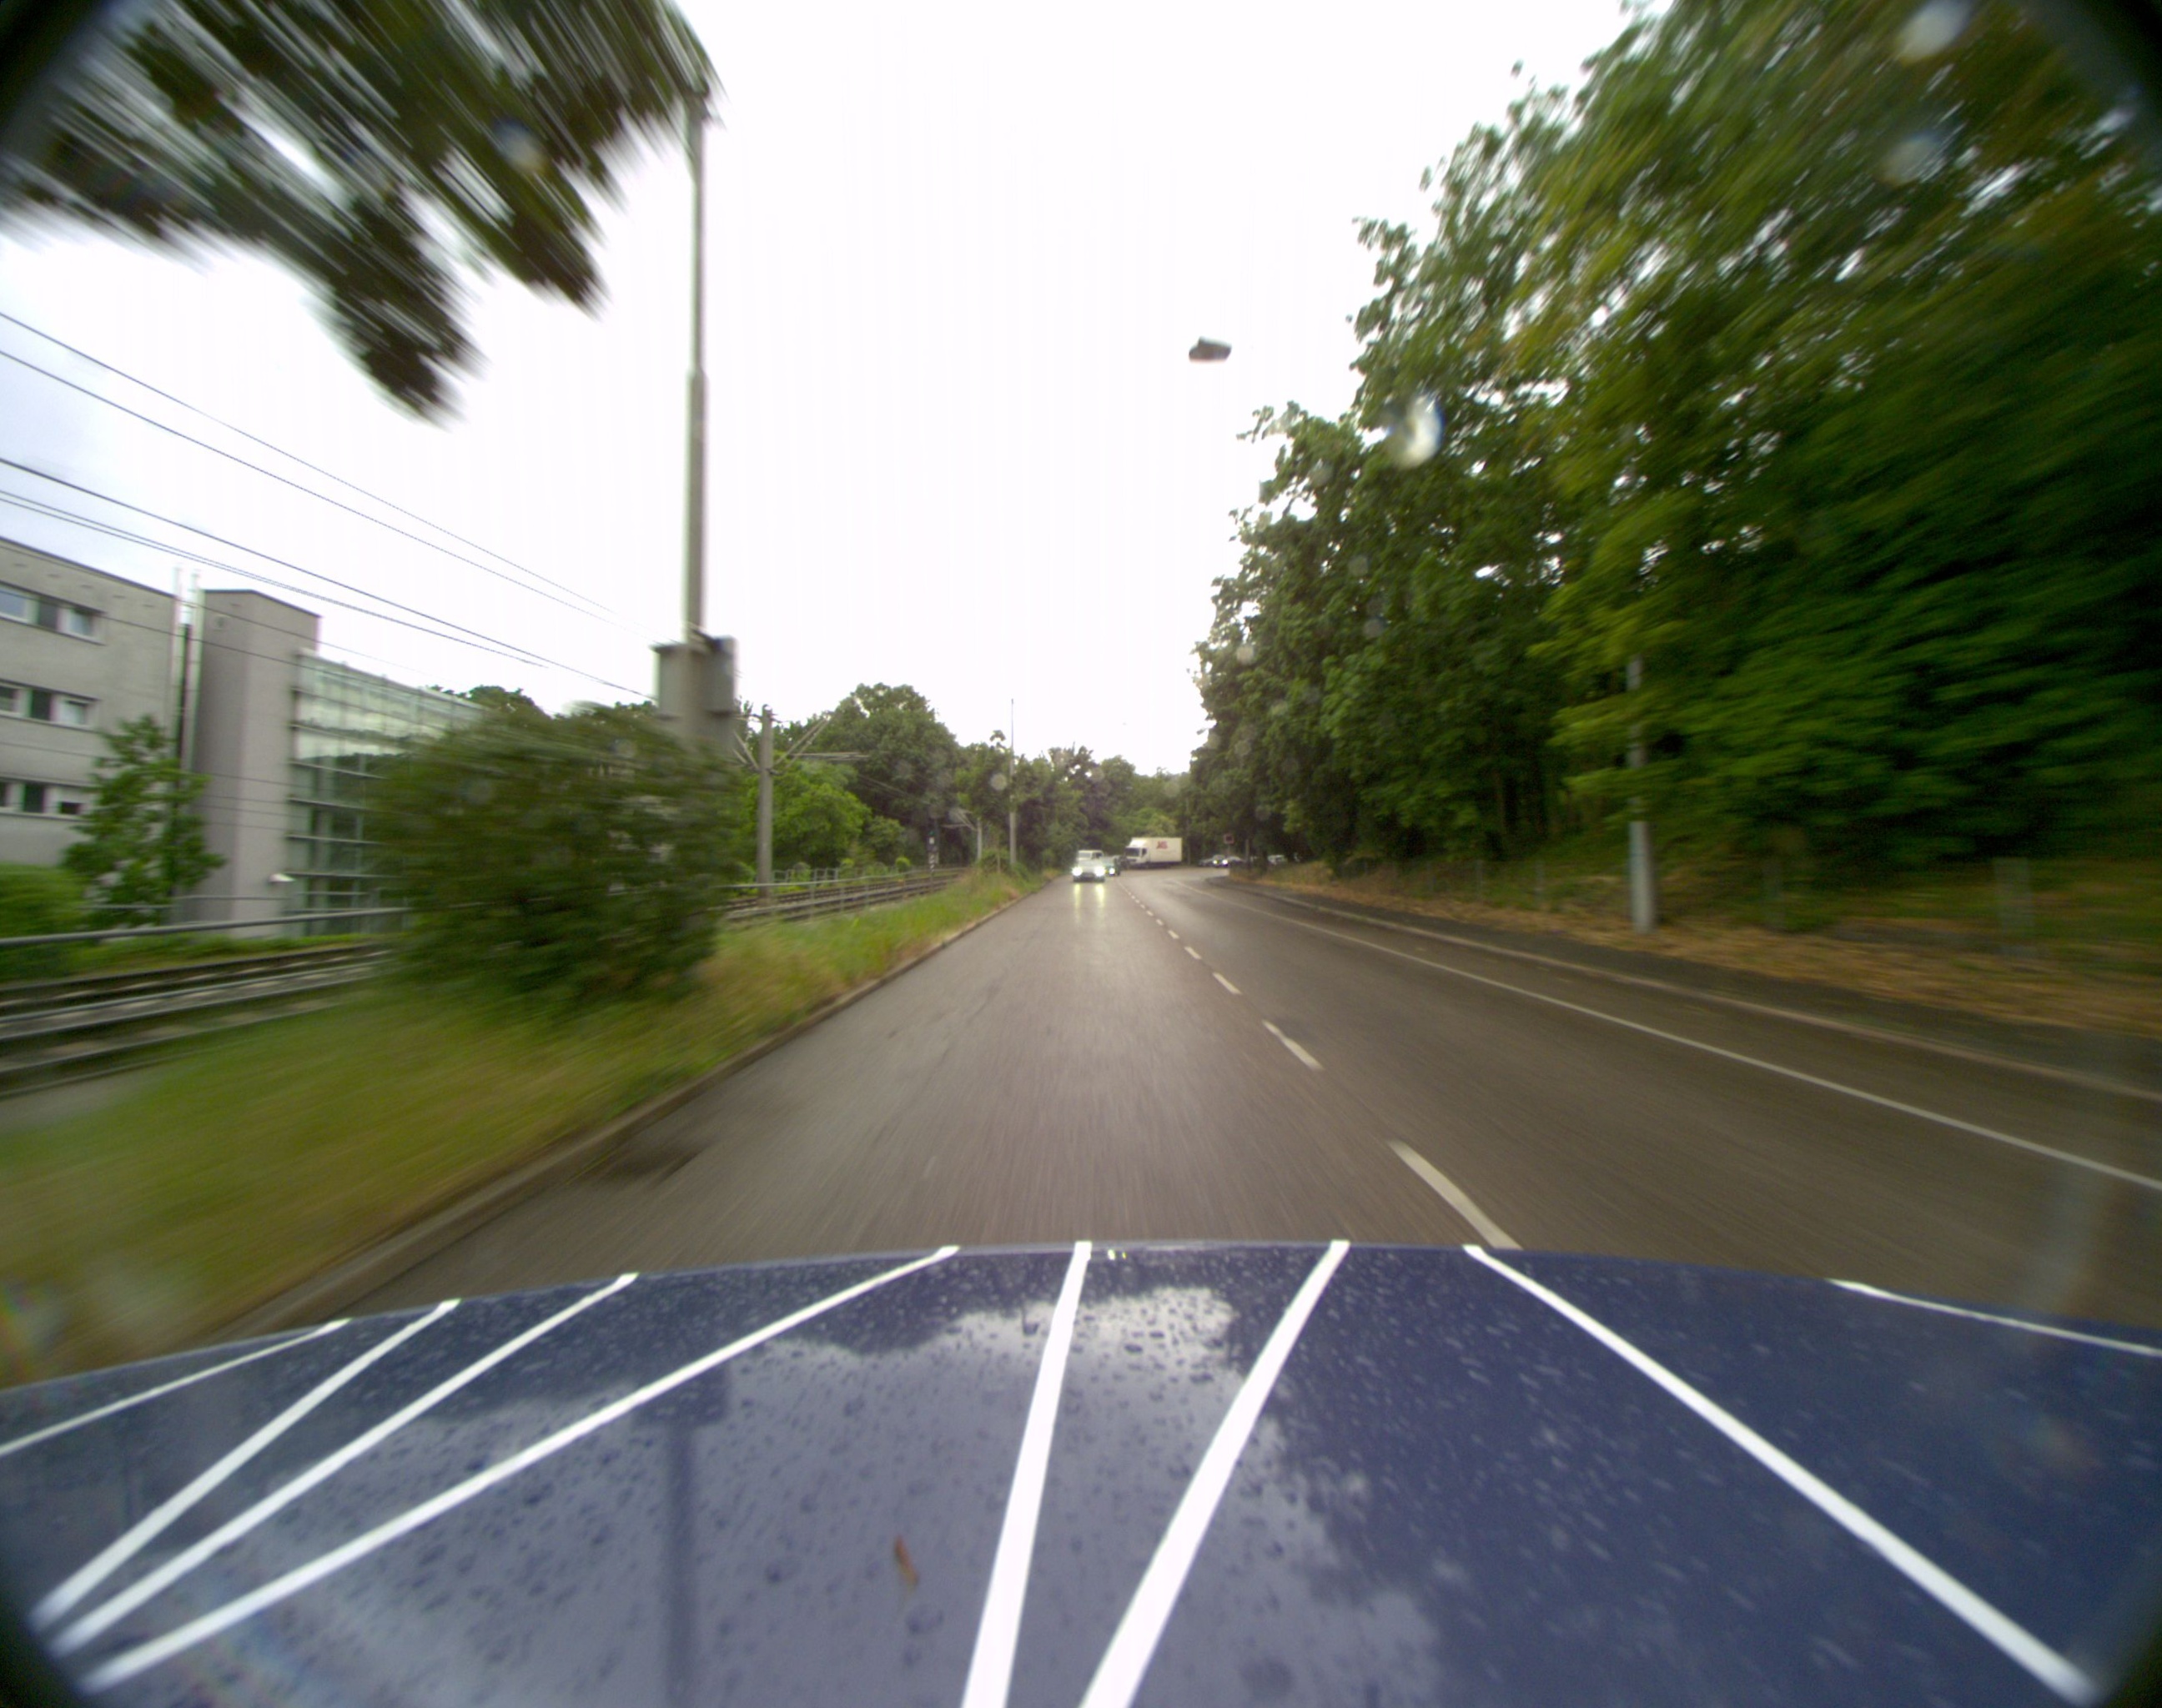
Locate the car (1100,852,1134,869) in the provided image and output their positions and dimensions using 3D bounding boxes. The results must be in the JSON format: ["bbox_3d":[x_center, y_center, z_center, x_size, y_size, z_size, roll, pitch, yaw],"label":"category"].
[{"bbox_3d":[3.705,0.636,77.346,1.719,1.547,4.285,2,1,28],"label":"car"}]

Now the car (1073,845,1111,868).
[{"bbox_3d":[1.092,0.192,71.142,1.878,2.002,4.699,2,1,23],"label":"car"}]

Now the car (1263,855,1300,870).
[{"bbox_3d":[20.906,0.839,79.145,4.055,1.448,1.752,-2,2,-41],"label":"car"}]

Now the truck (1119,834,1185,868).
[{"bbox_3d":[7.900,-0.393,83.856,3.008,3.553,8.353,0,1,40],"label":"truck"}]

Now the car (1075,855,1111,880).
[{"bbox_3d":[0.831,0.851,48.841,1.897,1.530,4.503,0,0,7],"label":"car"}]

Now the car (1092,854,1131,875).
[{"bbox_3d":[2.531,0.821,62.149,1.996,1.660,4.536,0,0,18],"label":"car"}]

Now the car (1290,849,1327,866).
[{"bbox_3d":[24.829,0.381,82.876,4.032,1.574,1.804,-3,2,-38],"label":"car"}]

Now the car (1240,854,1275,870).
[{"bbox_3d":[17.609,0.787,75.713,1.773,1.434,4.024,0,1,41],"label":"car"}]

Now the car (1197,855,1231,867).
[{"bbox_3d":[16.100,0.857,91.962,4.133,1.435,1.721,-1,0,-38],"label":"car"}]

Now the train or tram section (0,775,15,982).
[{"bbox_3d":[-22.313,0.487,4.952,3.339,3.924,19.281,-1,0,1],"label":"train or tram section"}]
